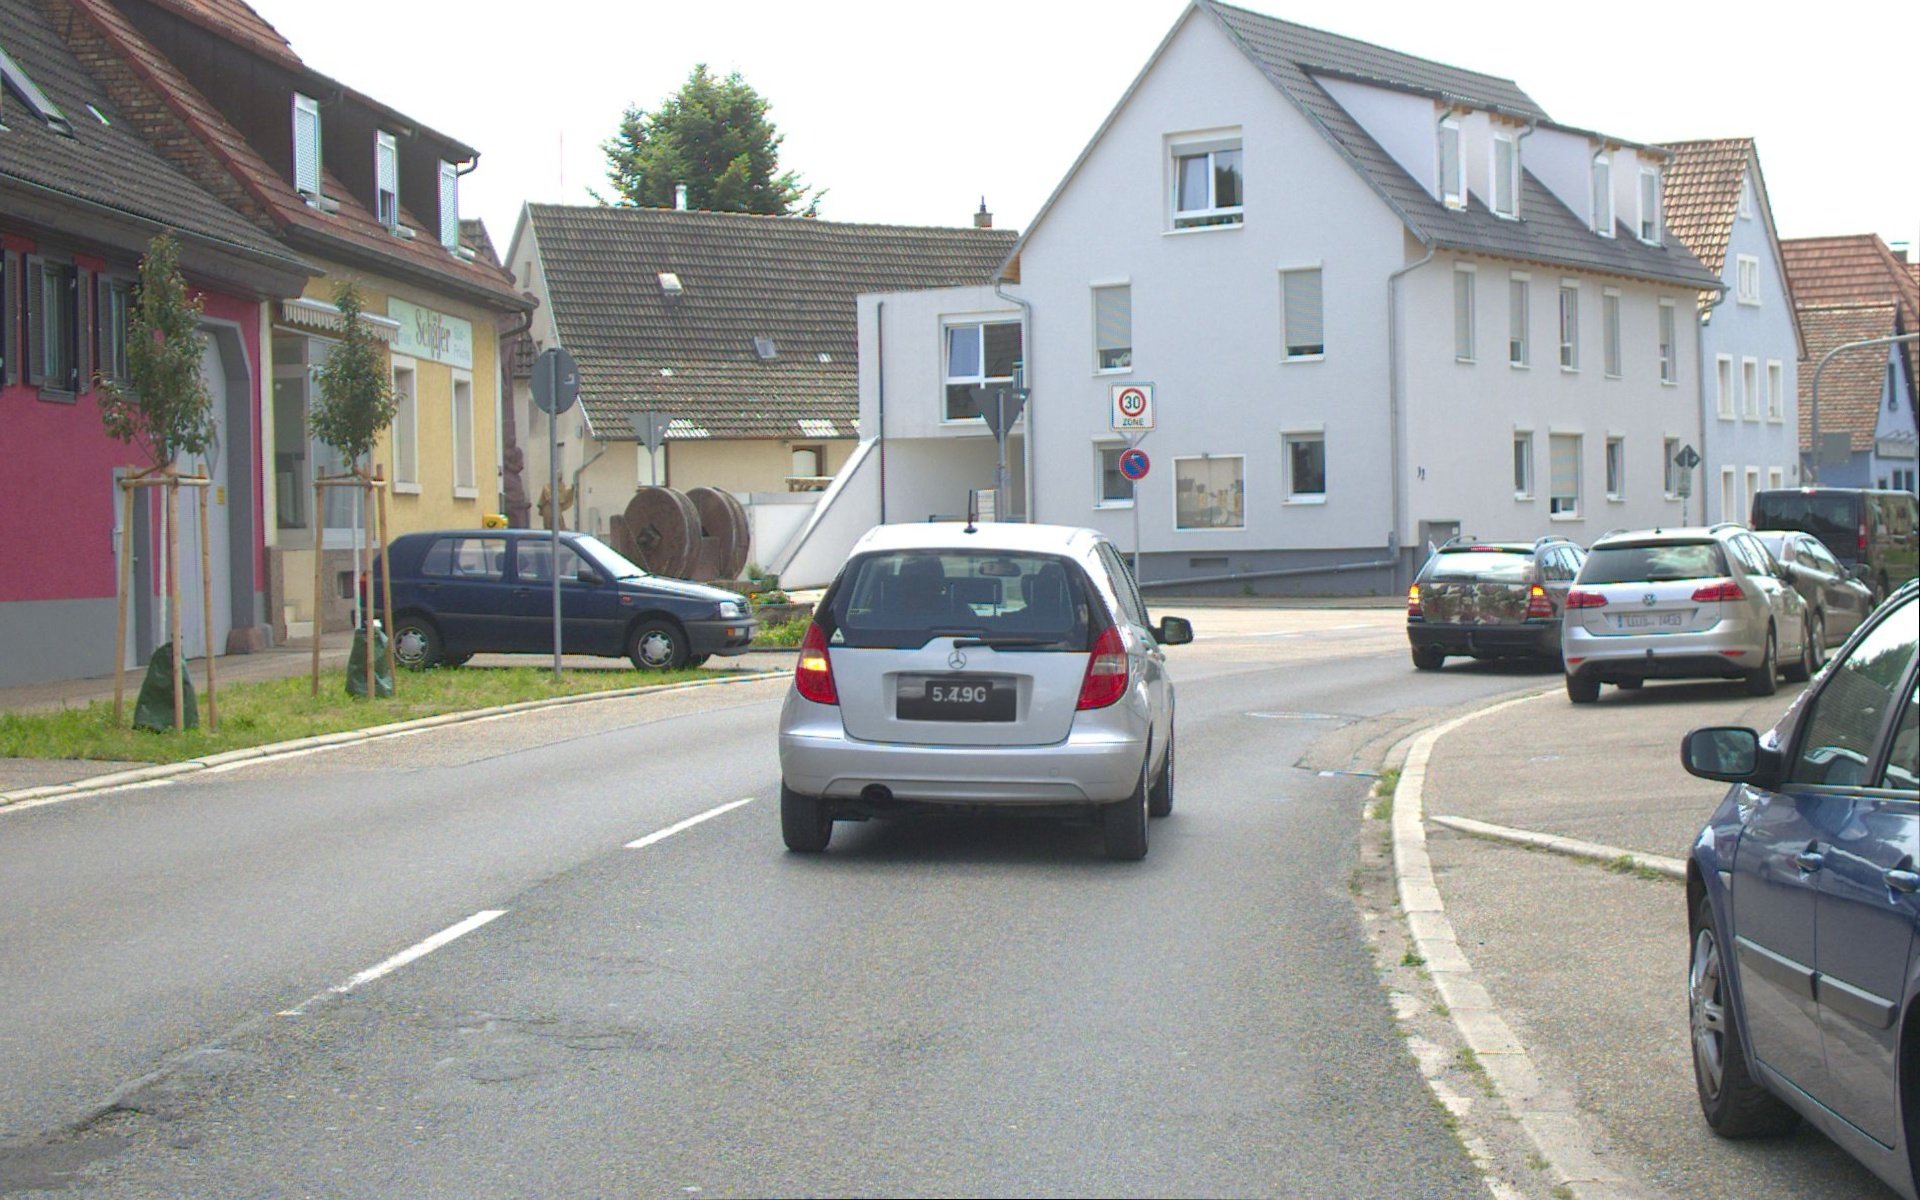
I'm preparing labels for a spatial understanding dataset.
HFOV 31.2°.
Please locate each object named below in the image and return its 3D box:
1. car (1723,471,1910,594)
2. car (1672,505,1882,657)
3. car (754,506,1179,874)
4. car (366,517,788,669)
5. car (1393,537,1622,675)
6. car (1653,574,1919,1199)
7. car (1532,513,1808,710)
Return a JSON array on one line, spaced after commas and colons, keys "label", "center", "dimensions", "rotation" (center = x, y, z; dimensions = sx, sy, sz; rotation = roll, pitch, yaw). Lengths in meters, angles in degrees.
[{"label": "car", "center": [13.350, -1.020, 53.432], "dimensions": [1.996, 1.809, 3.994], "rotation": [1, 0, 27]}, {"label": "car", "center": [8.786, -0.195, 36.769], "dimensions": [1.886, 1.525, 3.996], "rotation": [1, 0, 17]}, {"label": "car", "center": [0.142, 0.357, 17.572], "dimensions": [1.811, 1.638, 3.729], "rotation": [1, 2, 5]}, {"label": "car", "center": [-3.821, -0.090, 34.639], "dimensions": [3.967, 1.459, 1.721], "rotation": [1, 1, 5]}, {"label": "car", "center": [6.002, 0.060, 37.355], "dimensions": [1.751, 1.411, 3.996], "rotation": [1, 0, 19]}, {"label": "car", "center": [2.554, 0.629, 7.019], "dimensions": [1.723, 1.381, 3.999], "rotation": [-1, 0, 4]}, {"label": "car", "center": [6.332, 0.060, 30.318], "dimensions": [1.886, 1.525, 4.332], "rotation": [-3, 0, 17]}]
